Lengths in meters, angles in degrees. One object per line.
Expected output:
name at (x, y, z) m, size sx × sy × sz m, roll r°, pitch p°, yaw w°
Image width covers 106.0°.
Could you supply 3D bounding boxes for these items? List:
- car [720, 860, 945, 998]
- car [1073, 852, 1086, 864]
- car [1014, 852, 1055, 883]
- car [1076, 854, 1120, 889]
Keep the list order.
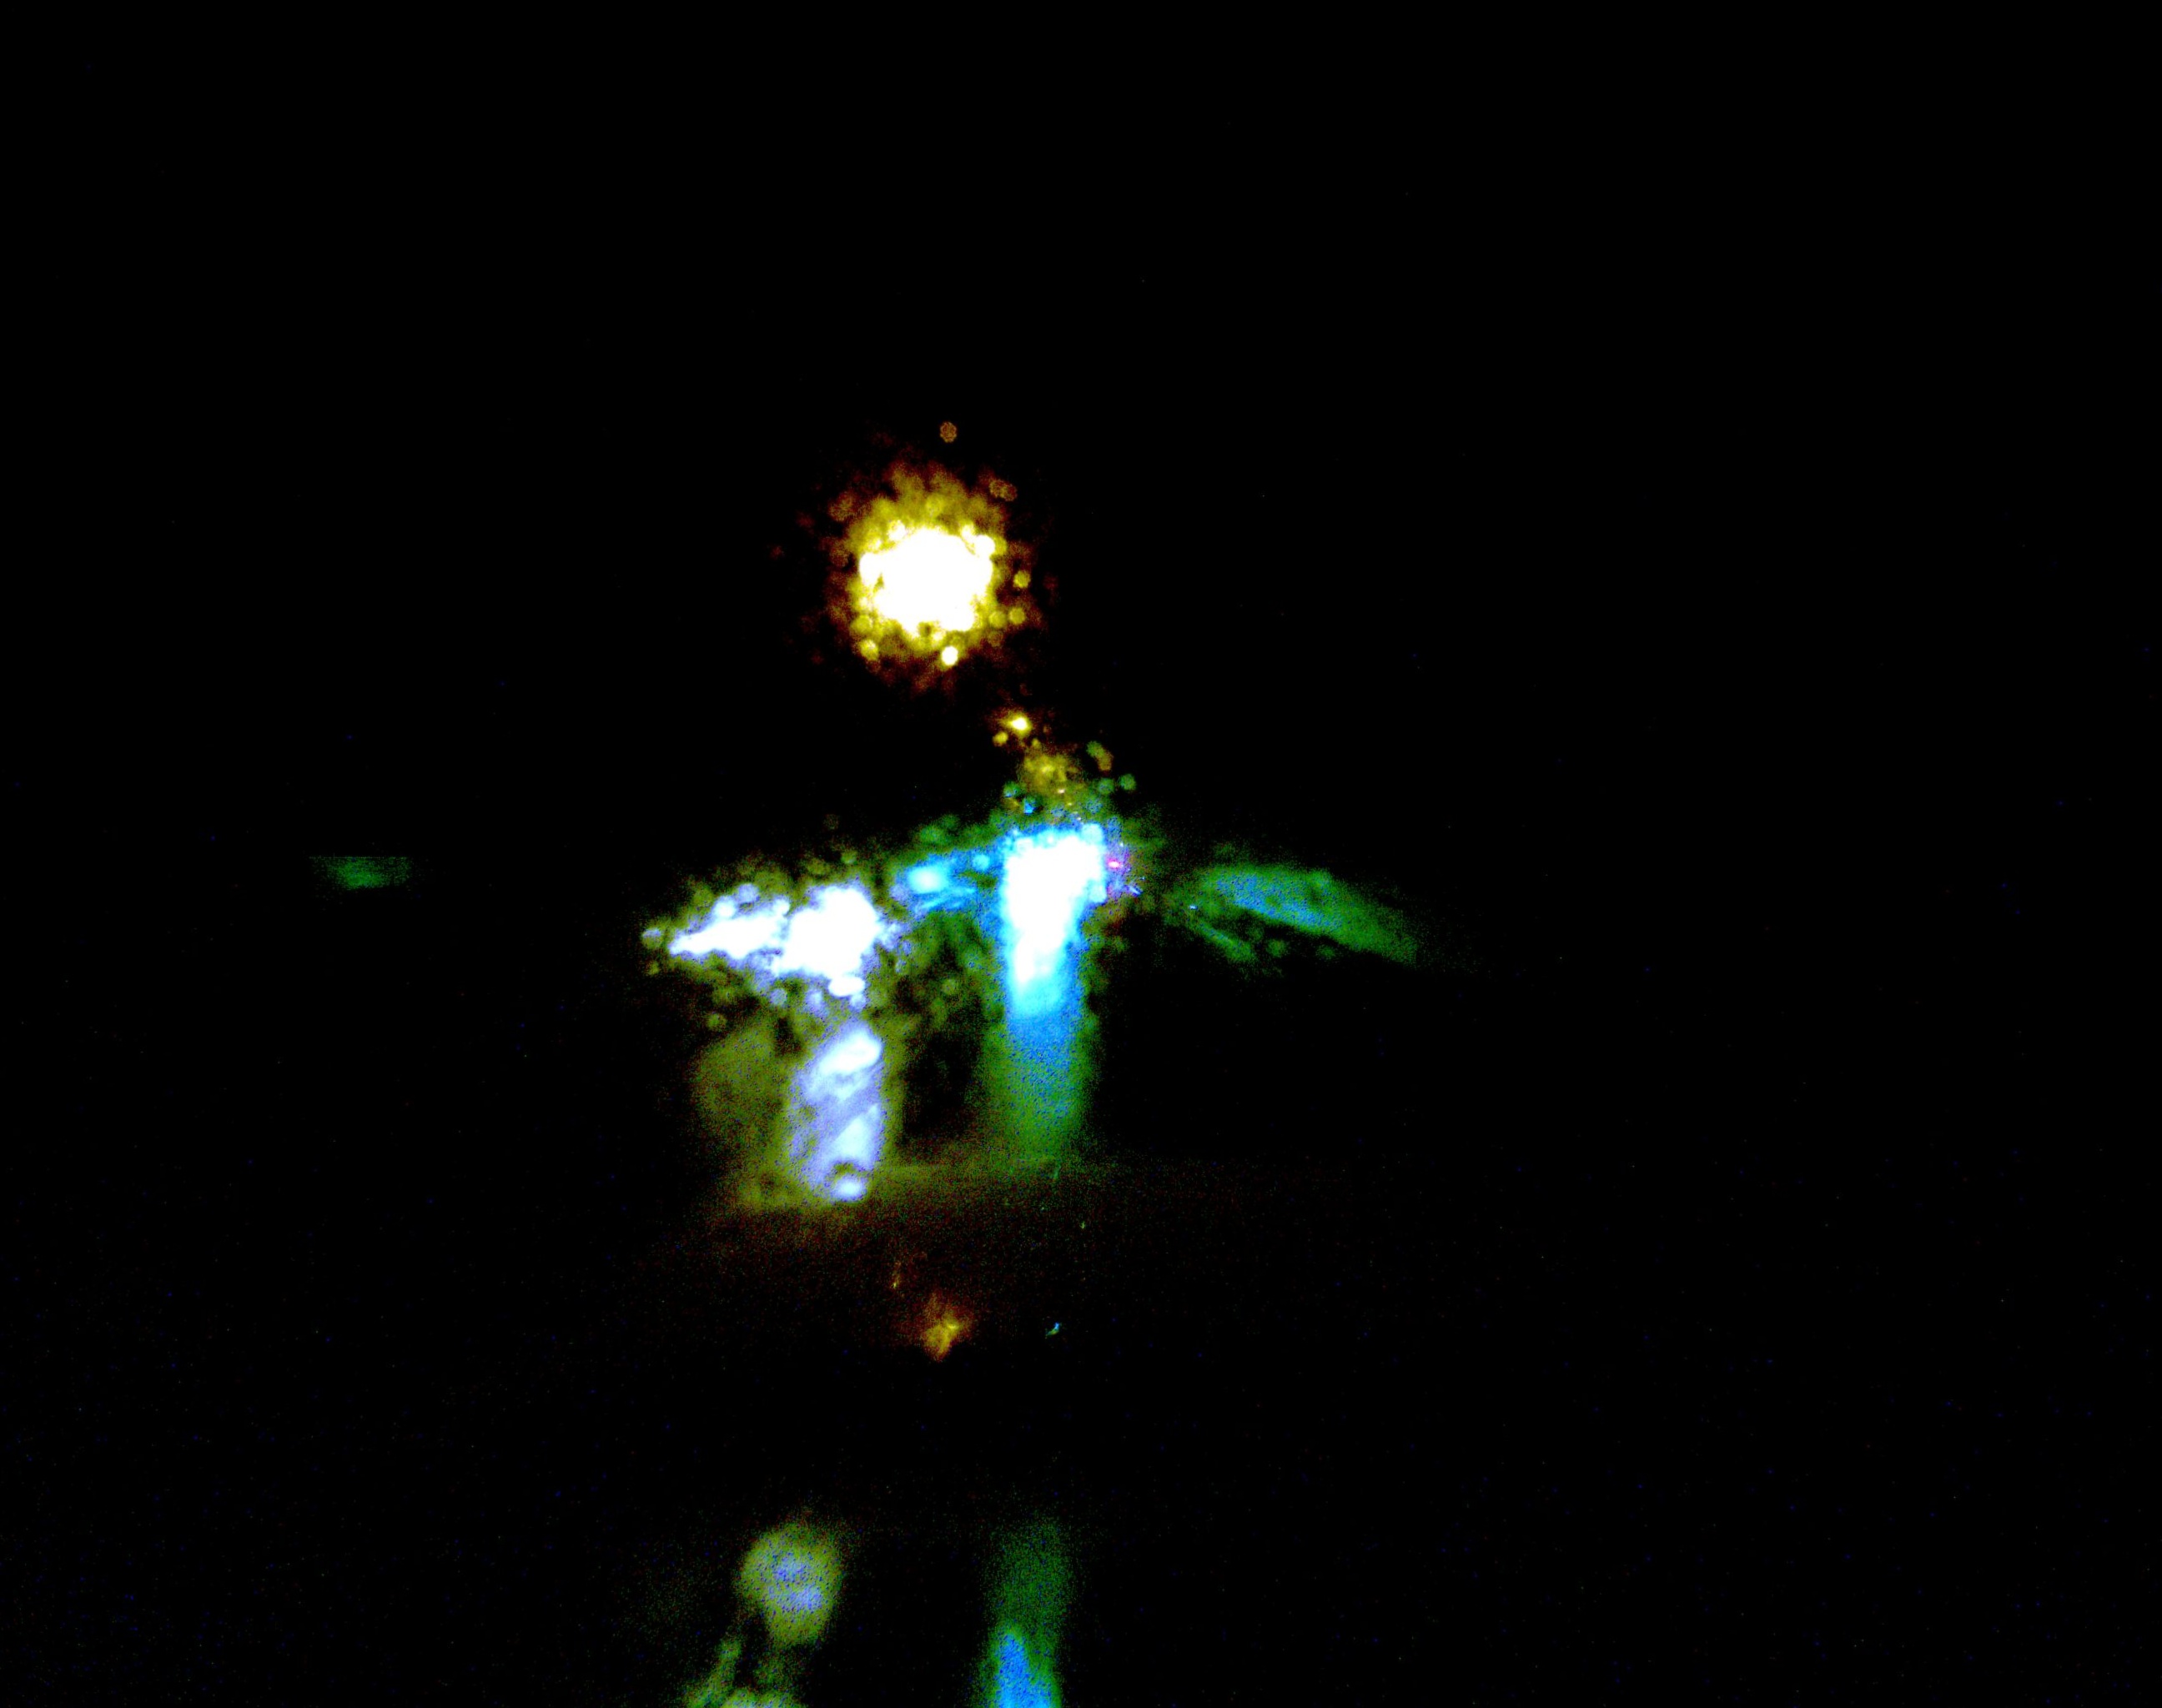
car at (-2.971, 0.821, 10.558) m, size 1.684 × 1.422 × 3.626 m, roll -1°, pitch 0°, yaw 2°
car at (-0.198, 0.686, 135.388) m, size 1.986 × 2.013 × 4.001 m, roll -1°, pitch 0°, yaw 1°
car at (-2.621, 0.732, 46.627) m, size 1.986 × 1.709 × 4.281 m, roll 0°, pitch 0°, yaw 1°
car at (0.854, 0.831, 40.949) m, size 2.082 × 1.662 × 4.001 m, roll -1°, pitch 0°, yaw 1°
